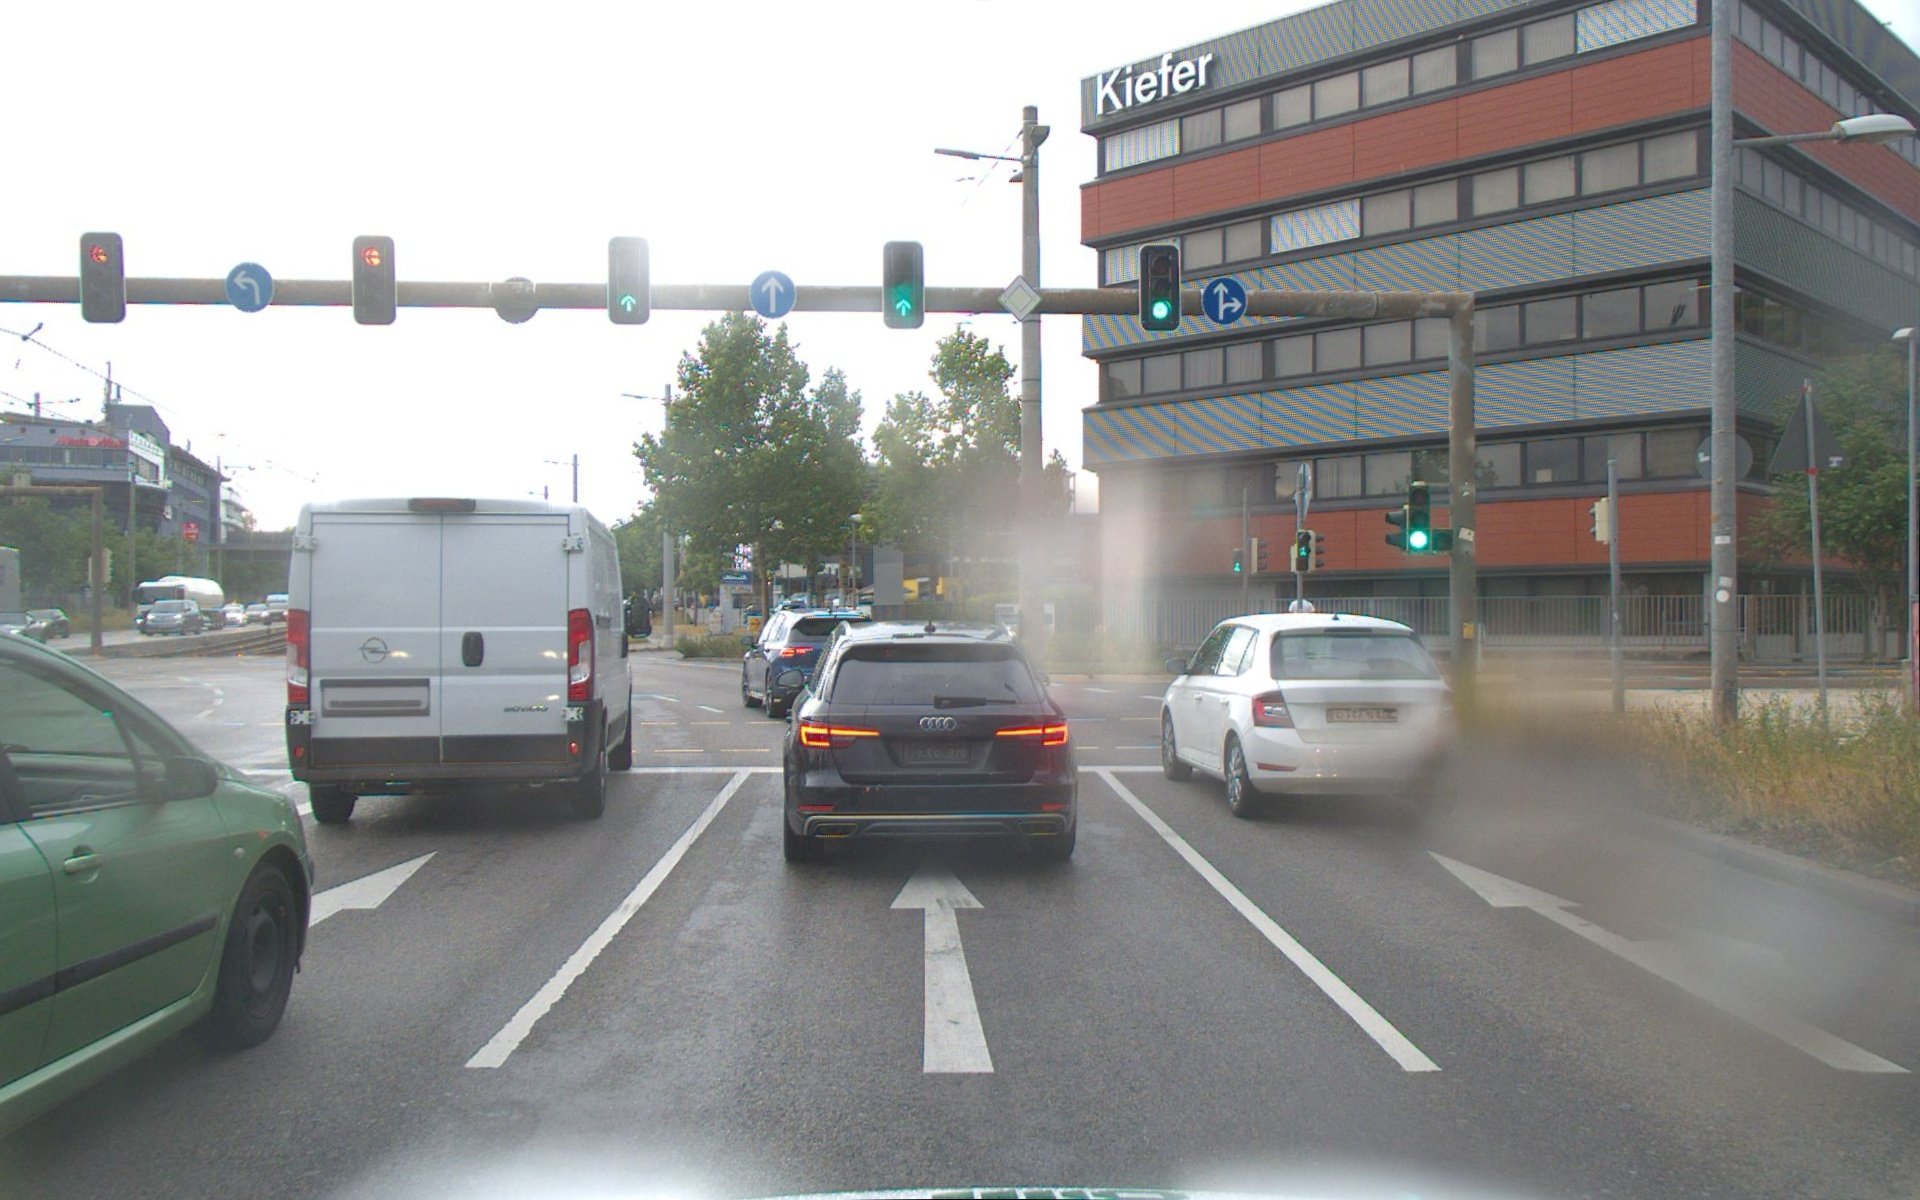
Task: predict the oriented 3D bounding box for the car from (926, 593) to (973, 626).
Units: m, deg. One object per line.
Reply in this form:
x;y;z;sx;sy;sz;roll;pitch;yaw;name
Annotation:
-0.686;0.650;109.674;1.844;2.049;3.749;3;-2;-21;car

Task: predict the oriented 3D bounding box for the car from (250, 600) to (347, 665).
-22.433;1.086;56.265;1.738;2.049;4.344;2;-1;-4;car

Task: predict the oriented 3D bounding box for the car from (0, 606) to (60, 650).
-35.914;1.053;62.767;1.870;1.582;4.550;2;-1;-13;car

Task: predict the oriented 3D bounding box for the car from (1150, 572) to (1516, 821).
2.798;0.714;13.336;1.793;1.685;3.996;1;-2;-4;car

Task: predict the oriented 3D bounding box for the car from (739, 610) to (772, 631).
-15.906;1.571;128.444;1.764;1.619;3.979;0;-1;-18;car

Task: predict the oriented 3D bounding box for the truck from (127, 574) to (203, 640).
-48.860;0.457;101.745;2.695;3.872;5.399;-1;-1;-9;truck

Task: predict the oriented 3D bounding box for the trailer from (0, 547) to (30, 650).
-39.813;-0.106;64.692;2.605;4.197;12.698;0;-1;-14;trailer

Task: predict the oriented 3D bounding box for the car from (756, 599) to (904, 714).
-1.927;0.788;23.572;1.858;1.491;3.901;1;-1;-8;car

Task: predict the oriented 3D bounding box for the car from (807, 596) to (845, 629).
-8.620;0.816;106.141;1.652;2.049;3.525;3;-2;-16;car

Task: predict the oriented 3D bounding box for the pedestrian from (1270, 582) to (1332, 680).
7.698;0.675;37.364;1.120;2.163;1.222;-1;1;-1;pedestrian

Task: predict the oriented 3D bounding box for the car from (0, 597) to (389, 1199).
-3.053;0.721;4.265;1.660;1.494;4.401;2;-2;-1;car

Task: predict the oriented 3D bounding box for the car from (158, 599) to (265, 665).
-24.803;1.033;54.977;1.738;2.049;4.344;2;0;-4;car

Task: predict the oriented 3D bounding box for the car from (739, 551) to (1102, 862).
-0.233;0.602;10.925;1.953;1.666;3.999;0;-1;-1;car

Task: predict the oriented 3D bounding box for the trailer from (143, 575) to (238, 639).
-49.773;0.528;107.302;2.675;3.922;11.202;-1;-1;-10;trailer

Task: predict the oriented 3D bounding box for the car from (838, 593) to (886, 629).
-5.798;0.667;97.392;1.962;2.068;3.981;-1;-1;-17;car

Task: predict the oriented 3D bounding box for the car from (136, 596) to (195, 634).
-43.686;0.802;90.990;1.960;1.869;4.889;2;0;-15;car

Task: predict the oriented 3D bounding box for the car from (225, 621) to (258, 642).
-53.623;2.345;123.477;2.128;1.532;4.273;0;-1;-22;car

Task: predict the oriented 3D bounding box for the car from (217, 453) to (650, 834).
-3.775;0.348;12.949;2.400;2.334;4.894;2;-2;-9;car
